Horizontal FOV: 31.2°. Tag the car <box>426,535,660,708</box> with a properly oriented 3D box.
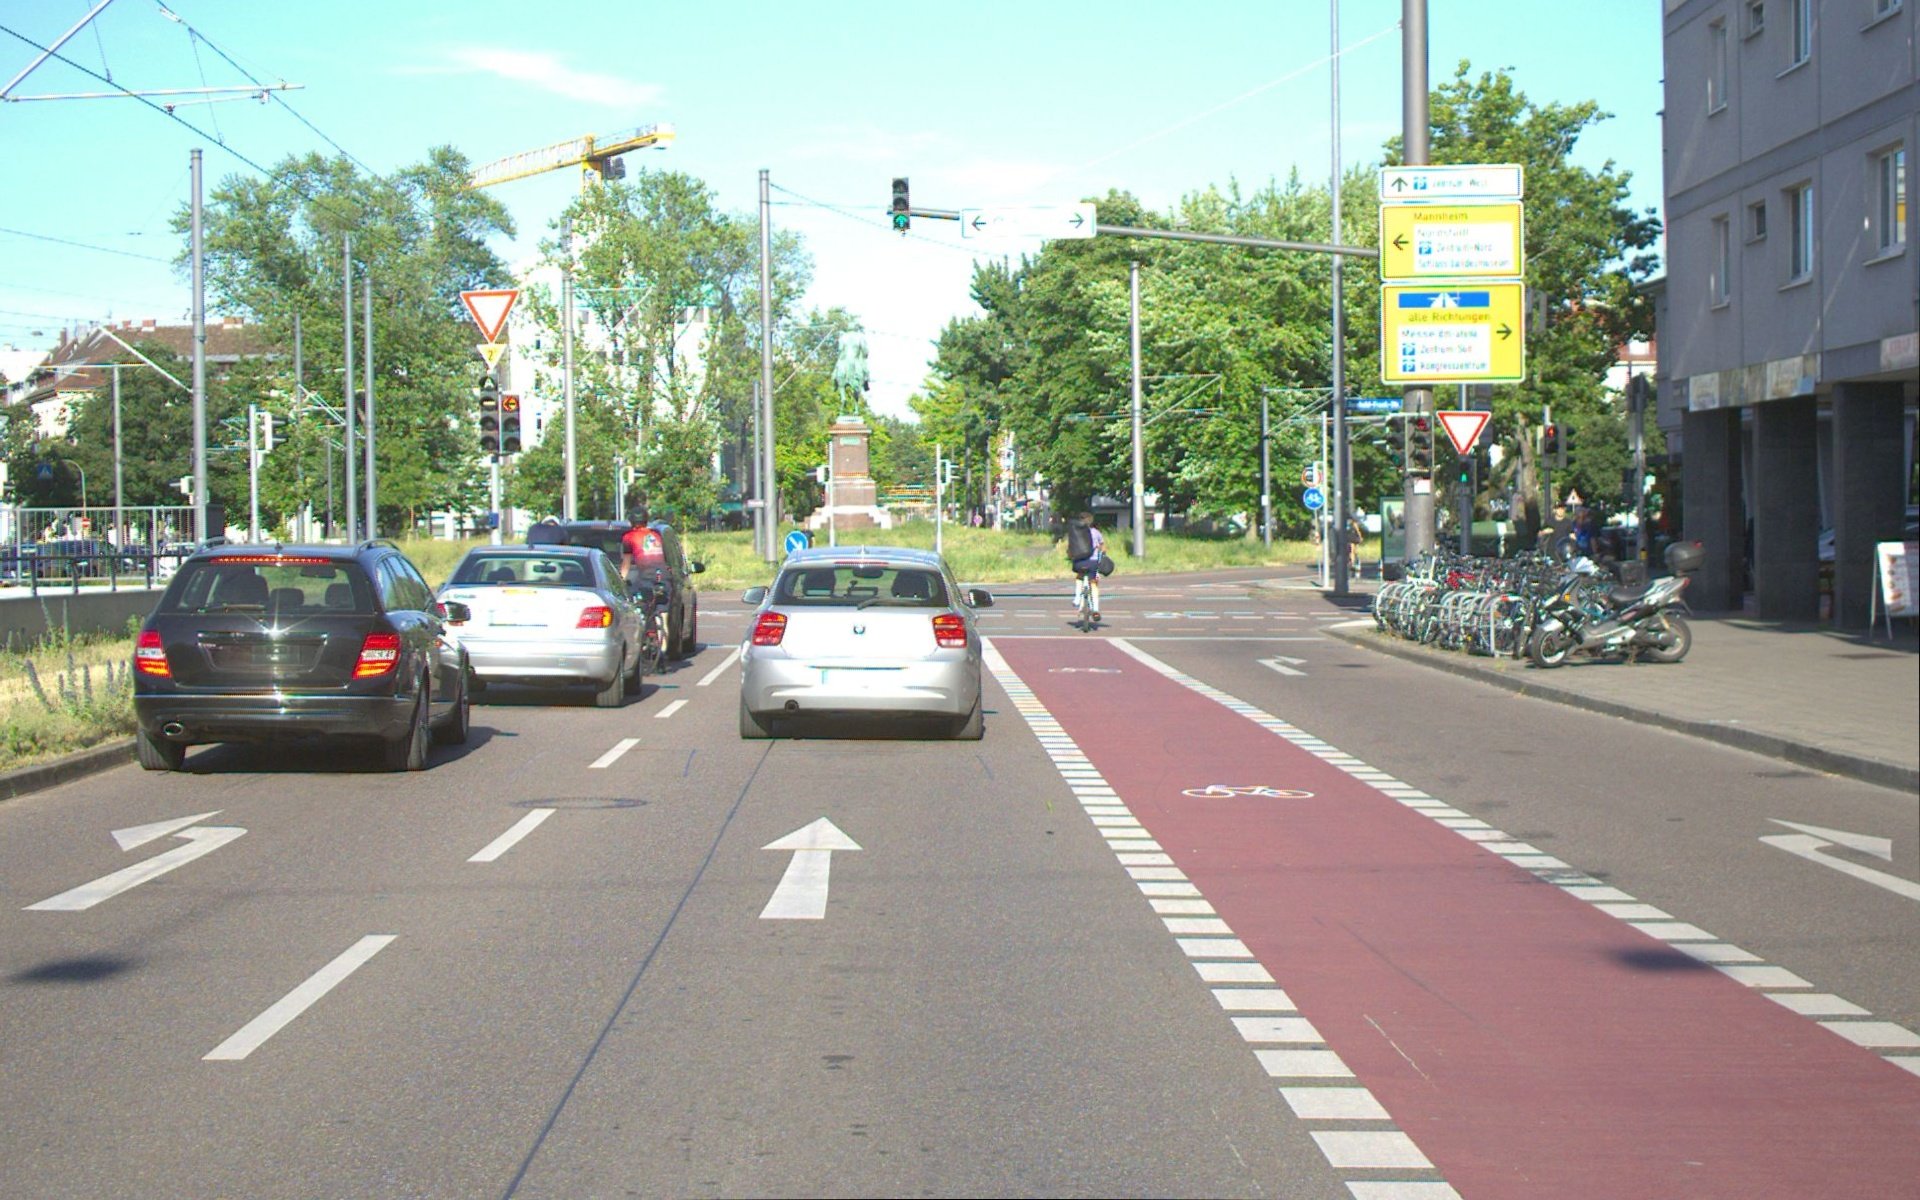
[{"bbox_3d":[-3.659,0.149,30.729,1.644,1.416,4.000,1,1,-1],"label":"car"}]

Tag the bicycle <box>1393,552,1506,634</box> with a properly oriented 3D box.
[{"bbox_3d":[6.568,-0.092,46.181,1.465,1.063,0.257,-1,0,1],"label":"bicycle"}]

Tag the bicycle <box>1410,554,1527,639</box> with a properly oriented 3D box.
[{"bbox_3d":[6.595,-0.048,44.588,1.465,1.063,0.257,-1,0,1],"label":"bicycle"}]

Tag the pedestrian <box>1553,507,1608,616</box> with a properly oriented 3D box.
[{"bbox_3d":[10.755,-0.665,59.553,0.826,1.850,0.916,2,1,14],"label":"pedestrian"}]

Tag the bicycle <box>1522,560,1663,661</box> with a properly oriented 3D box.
[{"bbox_3d":[6.873,0.117,37.384,1.465,1.063,0.257,-1,0,1],"label":"bicycle"}]

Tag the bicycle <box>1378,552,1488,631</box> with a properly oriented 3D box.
[{"bbox_3d":[6.555,-0.120,47.681,1.465,1.063,0.257,-1,0,1],"label":"bicycle"}]

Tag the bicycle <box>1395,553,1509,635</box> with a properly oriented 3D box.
[{"bbox_3d":[6.564,-0.085,45.859,1.465,1.063,0.257,-1,0,1],"label":"bicycle"}]

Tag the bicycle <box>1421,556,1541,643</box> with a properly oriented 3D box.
[{"bbox_3d":[6.608,-0.009,43.597,1.465,1.063,0.257,-1,0,1],"label":"bicycle"}]

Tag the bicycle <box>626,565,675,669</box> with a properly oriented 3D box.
[{"bbox_3d":[-3.286,0.167,36.478,0.338,1.053,1.779,-1,1,-11],"label":"bicycle"}]

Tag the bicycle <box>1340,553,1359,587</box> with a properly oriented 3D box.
[{"bbox_3d":[11.011,-0.860,97.295,0.352,0.955,1.573,1,1,1],"label":"bicycle"}]

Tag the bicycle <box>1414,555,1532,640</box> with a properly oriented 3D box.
[{"bbox_3d":[6.603,-0.031,44.274,1.465,1.063,0.257,-1,0,1],"label":"bicycle"}]

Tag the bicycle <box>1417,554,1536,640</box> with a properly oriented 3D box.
[{"bbox_3d":[6.601,-0.043,43.956,1.465,1.063,0.257,-1,0,1],"label":"bicycle"}]

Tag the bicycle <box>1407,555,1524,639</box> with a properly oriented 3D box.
[{"bbox_3d":[6.599,-0.037,44.910,1.465,1.063,0.257,-1,0,1],"label":"bicycle"}]

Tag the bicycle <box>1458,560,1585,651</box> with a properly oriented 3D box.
[{"bbox_3d":[6.738,0.062,41.249,1.465,1.063,0.257,-1,0,1],"label":"bicycle"}]

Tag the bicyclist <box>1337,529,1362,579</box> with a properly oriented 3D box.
[{"bbox_3d":[11.017,-1.304,97.218,0.616,1.375,0.686,1,1,1],"label":"bicyclist"}]

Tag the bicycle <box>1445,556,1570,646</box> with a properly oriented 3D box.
[{"bbox_3d":[6.676,0.014,41.937,1.465,1.063,0.257,-1,0,1],"label":"bicycle"}]

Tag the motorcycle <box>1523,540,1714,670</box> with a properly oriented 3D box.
[{"bbox_3d":[6.867,0.050,35.886,1.855,1.296,0.652,-1,1,3],"label":"motorcycle"}]

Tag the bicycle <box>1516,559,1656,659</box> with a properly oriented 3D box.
[{"bbox_3d":[6.874,0.101,37.755,1.465,1.063,0.257,-1,0,1],"label":"bicycle"}]

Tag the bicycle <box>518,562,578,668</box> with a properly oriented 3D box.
[{"bbox_3d":[-4.353,0.142,36.392,0.374,1.053,1.955,1,1,0],"label":"bicycle"}]

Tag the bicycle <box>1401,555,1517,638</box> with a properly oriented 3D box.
[{"bbox_3d":[6.563,-0.048,45.236,1.465,1.063,0.257,-1,0,1],"label":"bicycle"}]

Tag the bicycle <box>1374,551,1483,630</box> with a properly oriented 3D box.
[{"bbox_3d":[6.542,-0.131,47.991,1.465,1.063,0.257,-1,0,1],"label":"bicycle"}]

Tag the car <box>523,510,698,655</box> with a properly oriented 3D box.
[{"bbox_3d":[-4.074,-0.247,40.616,1.704,1.616,4.000,0,1,-1],"label":"car"}]

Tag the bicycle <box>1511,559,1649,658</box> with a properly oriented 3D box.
[{"bbox_3d":[6.876,0.097,38.134,1.465,1.063,0.257,-1,0,1],"label":"bicycle"}]

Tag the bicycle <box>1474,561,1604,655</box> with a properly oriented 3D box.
[{"bbox_3d":[6.767,0.090,40.203,1.465,1.063,0.257,-1,0,1],"label":"bicycle"}]

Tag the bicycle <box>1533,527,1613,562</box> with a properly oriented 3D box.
[{"bbox_3d":[18.698,-1.695,104.833,2.320,1.064,0.555,0,1,22],"label":"bicycle"}]

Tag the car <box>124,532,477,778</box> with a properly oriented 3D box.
[{"bbox_3d":[-4.235,0.290,22.679,1.726,1.465,4.411,0,1,-3],"label":"car"}]

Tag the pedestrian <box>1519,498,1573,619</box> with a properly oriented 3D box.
[{"bbox_3d":[9.872,-0.700,57.914,0.791,2.007,0.870,1,1,6],"label":"pedestrian"}]

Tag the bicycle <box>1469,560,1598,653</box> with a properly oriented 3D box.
[{"bbox_3d":[6.761,0.080,40.548,1.465,1.063,0.257,-1,0,1],"label":"bicycle"}]

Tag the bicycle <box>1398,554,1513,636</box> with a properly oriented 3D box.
[{"bbox_3d":[6.558,-0.067,45.553,1.465,1.063,0.257,-1,0,1],"label":"bicycle"}]

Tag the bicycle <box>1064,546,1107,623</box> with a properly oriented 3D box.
[{"bbox_3d":[1.816,-0.230,50.034,0.499,1.085,1.997,1,1,-1],"label":"bicycle"}]

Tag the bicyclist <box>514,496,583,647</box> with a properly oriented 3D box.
[{"bbox_3d":[-4.353,-0.304,36.394,0.616,1.566,0.686,1,1,1],"label":"bicyclist"}]

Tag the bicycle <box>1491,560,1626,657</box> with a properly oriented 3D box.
[{"bbox_3d":[6.785,0.096,39.015,1.465,1.063,0.257,-1,0,1],"label":"bicycle"}]

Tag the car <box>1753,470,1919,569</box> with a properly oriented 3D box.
[{"bbox_3d":[19.486,-1.675,73.014,4.729,2.007,2.259,1,1,1],"label":"car"}]

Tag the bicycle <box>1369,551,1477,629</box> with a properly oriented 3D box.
[{"bbox_3d":[6.518,-0.136,48.415,1.465,1.063,0.257,-1,0,1],"label":"bicycle"}]

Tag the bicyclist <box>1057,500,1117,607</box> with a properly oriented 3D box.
[{"bbox_3d":[1.838,-0.675,50.004,0.785,1.526,0.895,1,1,-1],"label":"bicyclist"}]

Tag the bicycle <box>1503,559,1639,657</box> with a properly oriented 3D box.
[{"bbox_3d":[6.857,0.090,38.605,1.465,1.063,0.257,-1,0,1],"label":"bicycle"}]

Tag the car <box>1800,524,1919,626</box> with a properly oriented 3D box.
[{"bbox_3d":[19.529,-0.490,69.914,4.361,2.007,1.972,1,1,1],"label":"car"}]

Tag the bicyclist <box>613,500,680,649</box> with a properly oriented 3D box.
[{"bbox_3d":[-3.325,-0.276,36.484,0.616,1.566,0.686,-1,1,-12],"label":"bicyclist"}]

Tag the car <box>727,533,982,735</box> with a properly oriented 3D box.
[{"bbox_3d":[-0.773,0.201,26.374,1.798,1.410,4.000,0,1,-1],"label":"car"}]

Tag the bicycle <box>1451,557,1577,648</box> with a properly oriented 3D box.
[{"bbox_3d":[6.702,0.029,41.594,1.465,1.063,0.257,-1,0,1],"label":"bicycle"}]

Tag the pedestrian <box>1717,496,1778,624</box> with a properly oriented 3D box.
[{"bbox_3d":[12.617,-0.644,55.106,0.843,2.007,0.889,2,1,9],"label":"pedestrian"}]

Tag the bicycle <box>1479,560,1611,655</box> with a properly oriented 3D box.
[{"bbox_3d":[6.771,0.084,39.831,1.465,1.063,0.257,-1,0,1],"label":"bicycle"}]
